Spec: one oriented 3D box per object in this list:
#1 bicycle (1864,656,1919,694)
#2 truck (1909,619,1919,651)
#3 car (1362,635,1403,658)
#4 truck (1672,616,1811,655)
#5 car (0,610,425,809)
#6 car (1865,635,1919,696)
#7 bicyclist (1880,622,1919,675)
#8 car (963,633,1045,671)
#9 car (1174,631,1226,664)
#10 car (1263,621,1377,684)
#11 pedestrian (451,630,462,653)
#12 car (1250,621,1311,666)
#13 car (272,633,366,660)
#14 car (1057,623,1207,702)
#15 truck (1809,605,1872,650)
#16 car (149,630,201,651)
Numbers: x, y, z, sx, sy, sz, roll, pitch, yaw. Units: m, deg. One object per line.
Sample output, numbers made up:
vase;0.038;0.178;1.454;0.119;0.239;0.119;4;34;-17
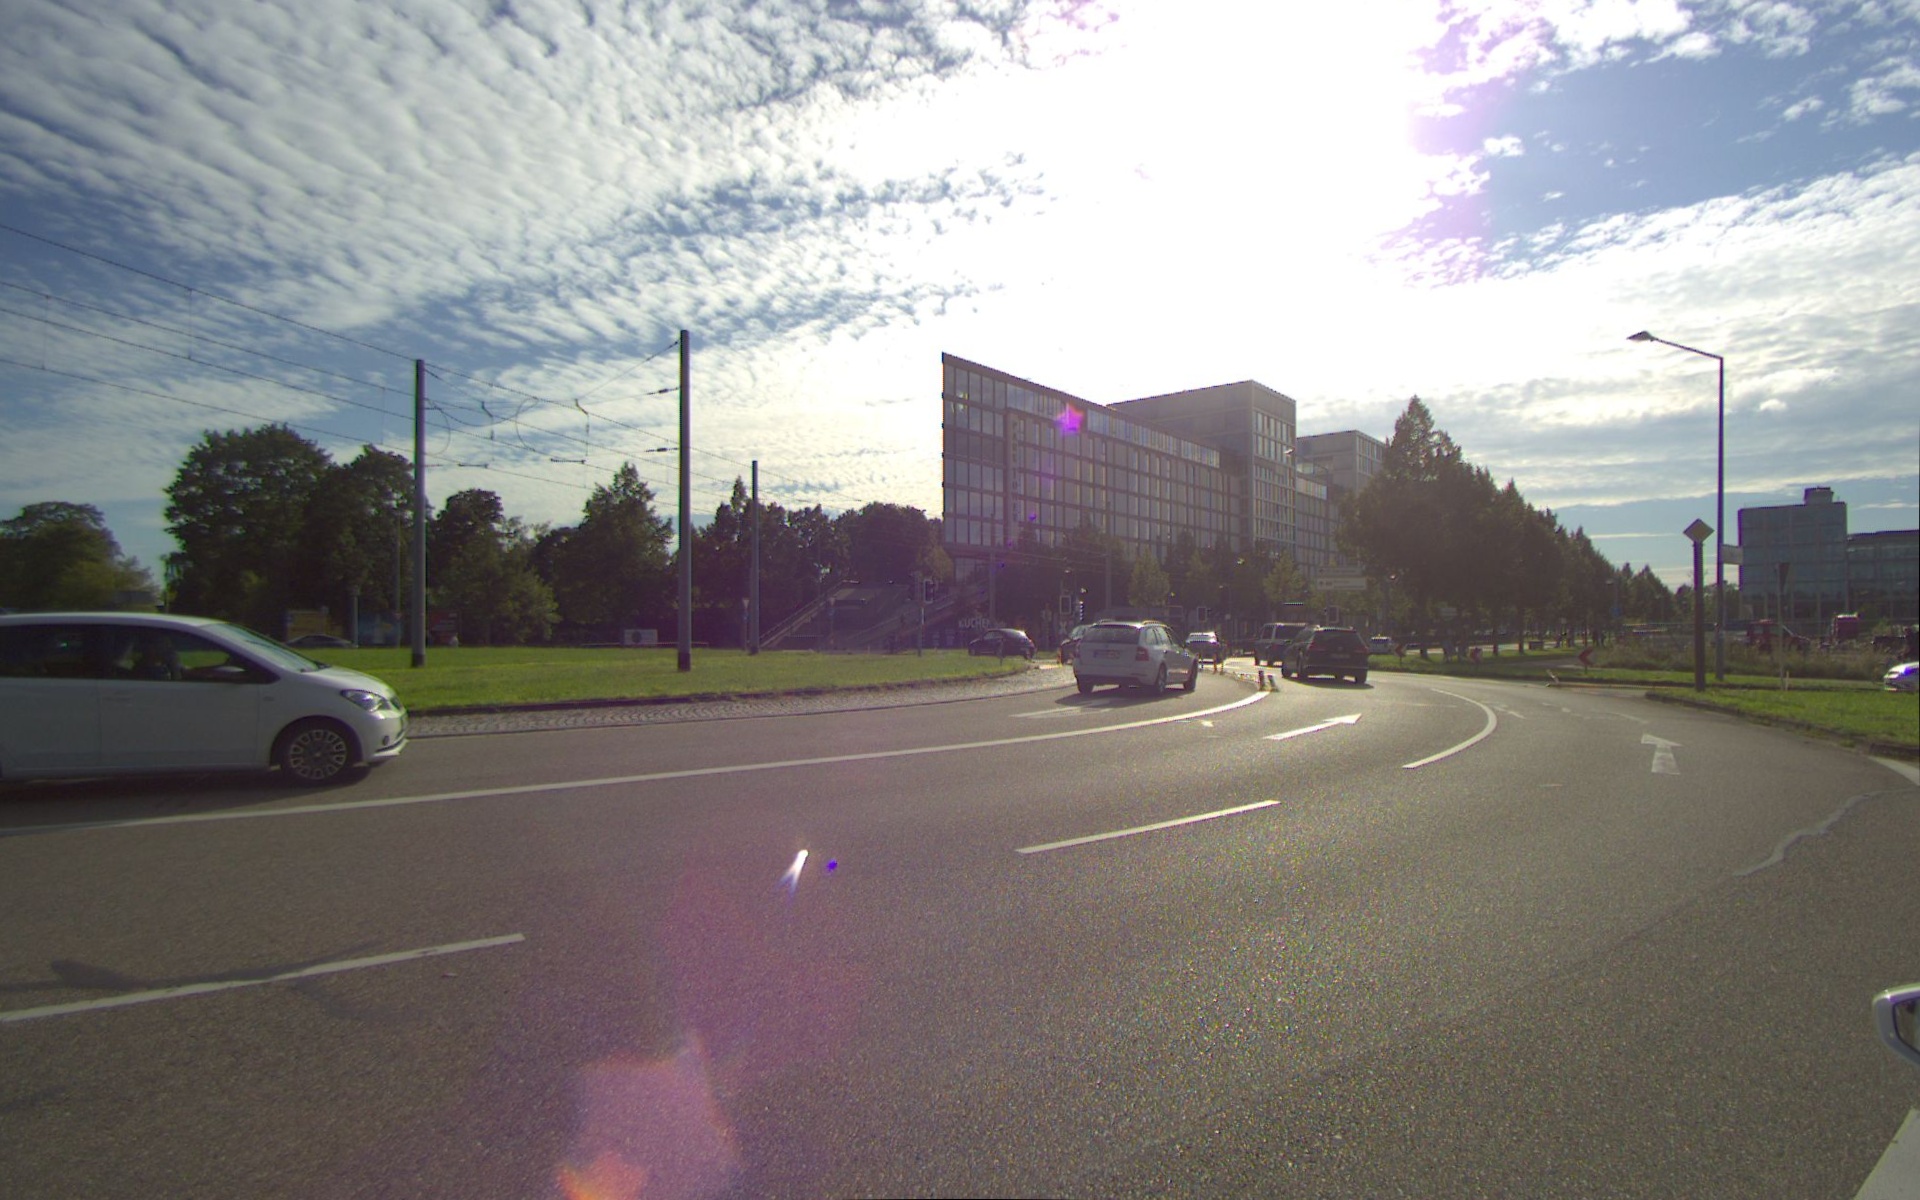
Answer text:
bicycle;27.997;2.199;29.414;0.693;1.077;2.197;0;-2;-17
truck;72.900;2.622;74.750;2.296;2.359;6.433;-1;-2;34
car;31.846;3.506;75.627;1.871;1.632;4.645;-1;-2;36
truck;55.755;2.510;71.886;7.738;2.601;3.061;-1;-2;39
car;-6.799;0.853;8.752;3.608;1.484;1.757;1;0;-24
car;25.232;1.609;24.428;4.460;1.471;1.821;-1;-2;29
bicyclist;27.935;1.427;29.570;0.693;1.531;1.007;0;-2;-17
car;2.086;2.481;48.666;1.981;1.562;3.958;0;1;-36
car;12.065;2.360;50.291;1.865;1.450;4.659;0;0;22
car;10.124;1.445;28.630;1.959;1.587;4.848;1;-2;6
pedestrian;-36.550;2.982;72.924;0.497;1.646;0.547;-1;-2;30
car;14.924;1.968;46.993;1.863;1.928;4.663;0;0;6
car;-32.395;2.343;50.827;3.952;1.281;1.671;1;-4;-34
car;3.774;1.221;21.308;1.822;1.464;4.633;0;-1;27
truck;68.117;2.136;77.877;2.770;3.249;7.294;-1;-2;34
car;-59.025;3.026;75.531;3.922;1.521;1.683;0;-1;29
